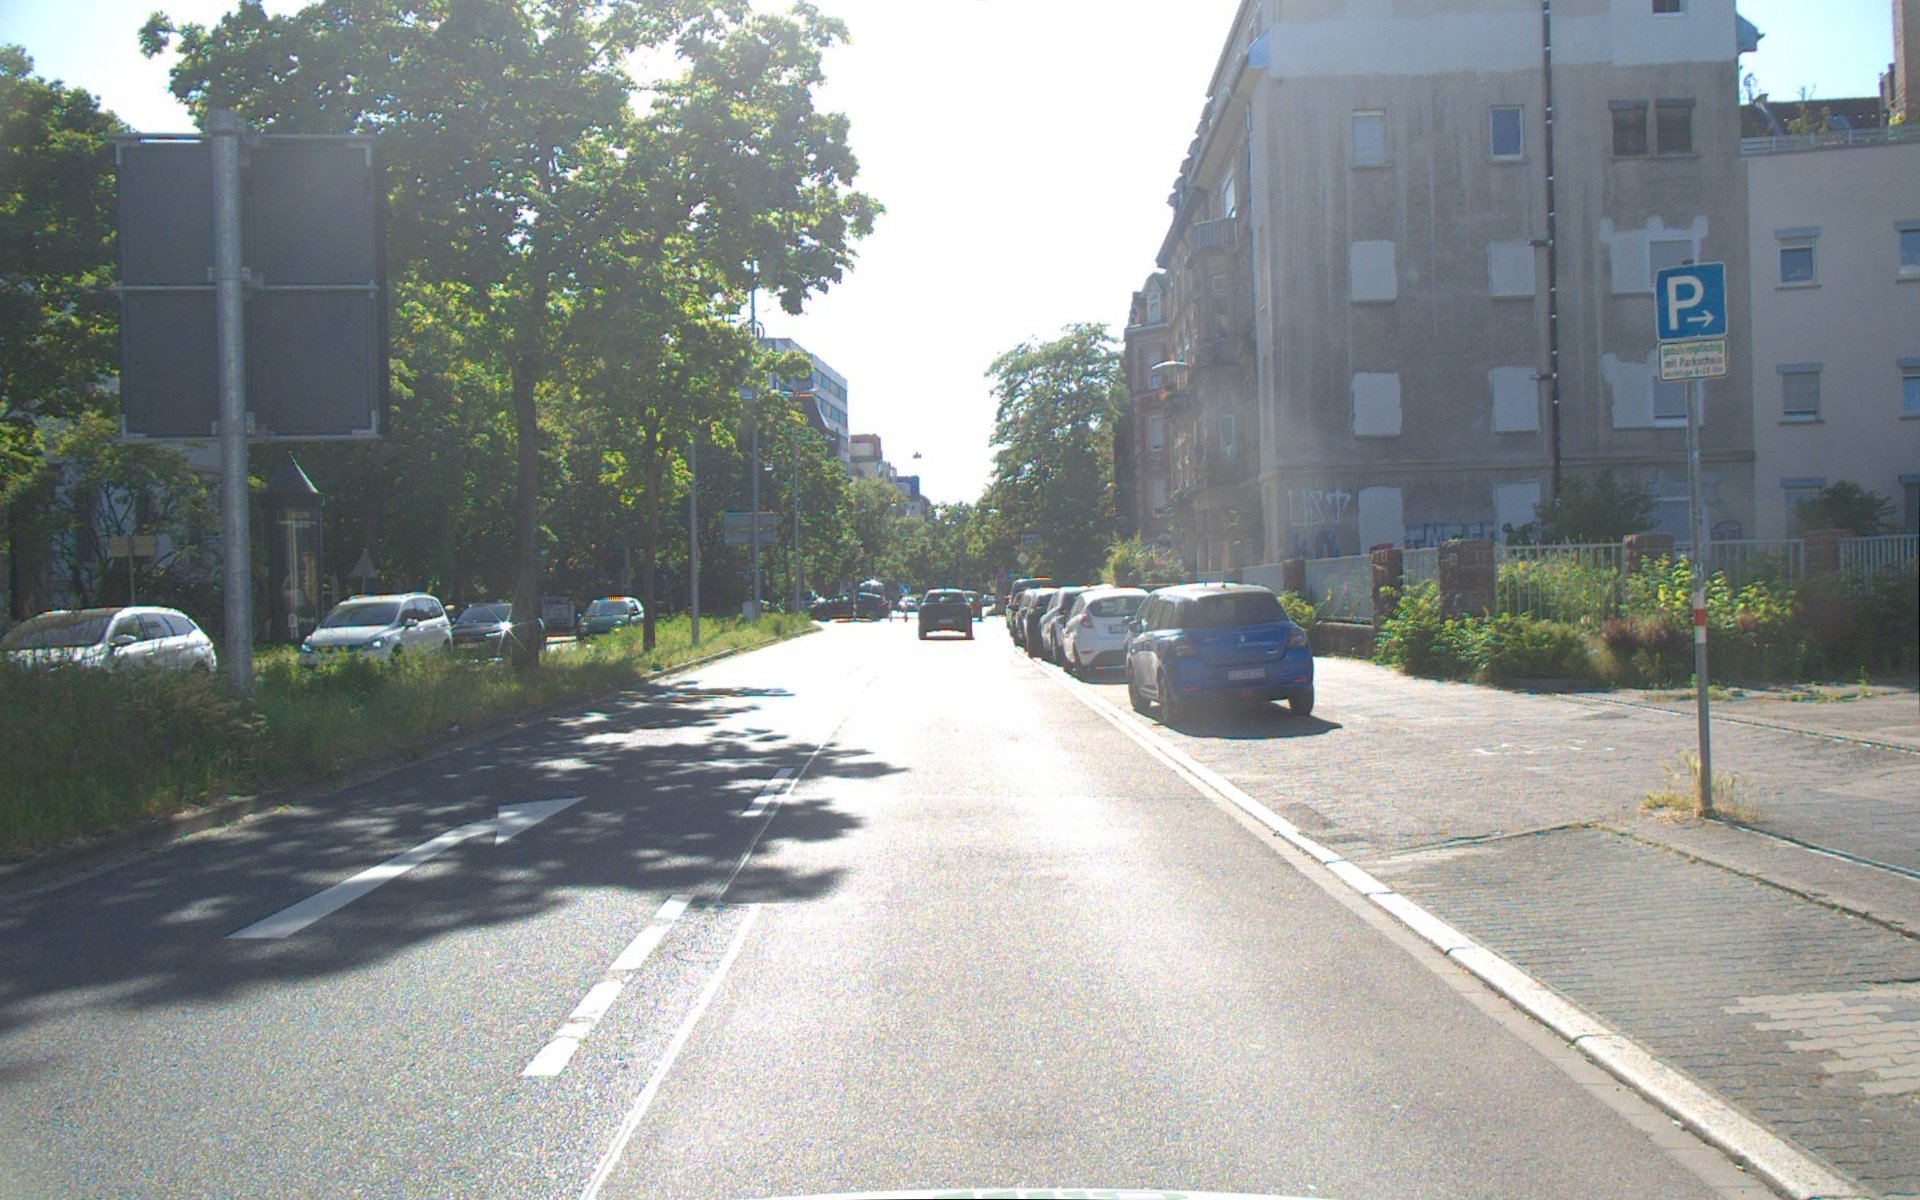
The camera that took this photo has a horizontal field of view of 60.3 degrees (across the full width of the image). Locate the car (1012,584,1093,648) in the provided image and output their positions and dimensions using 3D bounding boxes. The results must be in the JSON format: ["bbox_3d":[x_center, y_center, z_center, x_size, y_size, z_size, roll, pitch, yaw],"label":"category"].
[{"bbox_3d":[2.200,0.341,40.111,1.634,1.418,3.774,-2,1,-2],"label":"car"}]

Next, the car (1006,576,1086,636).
[{"bbox_3d":[2.388,0.132,47.000,1.896,1.545,4.483,-2,1,-2],"label":"car"}]

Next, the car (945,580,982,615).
[{"bbox_3d":[0.156,-0.134,82.546,1.756,1.546,3.849,0,3,-1],"label":"car"}]

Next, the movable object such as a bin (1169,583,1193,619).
[{"bbox_3d":[7.515,0.030,56.322,0.743,1.177,0.608,0,-3,1],"label":"movable object such as a bin"}]

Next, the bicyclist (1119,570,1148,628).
[{"bbox_3d":[4.918,-0.039,46.889,0.726,1.607,1.100,0,1,1],"label":"bicyclist"}]

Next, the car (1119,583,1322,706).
[{"bbox_3d":[3.048,0.470,20.070,1.635,1.203,3.899,-5,1,-2],"label":"car"}]

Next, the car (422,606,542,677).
[{"bbox_3d":[-11.577,0.986,40.292,1.759,1.545,4.085,-3,-1,-2],"label":"car"}]

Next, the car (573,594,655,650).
[{"bbox_3d":[-10.248,0.623,49.231,1.605,1.545,4.257,-2,0,-2],"label":"car"}]

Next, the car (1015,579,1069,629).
[{"bbox_3d":[2.614,0.100,53.619,1.633,1.493,4.275,-2,1,2],"label":"car"}]

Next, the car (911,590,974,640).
[{"bbox_3d":[-0.595,0.447,53.625,1.857,1.545,3.997,1,0,-3],"label":"car"}]

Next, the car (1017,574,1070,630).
[{"bbox_3d":[2.953,0.029,59.254,1.781,1.876,4.365,-2,1,2],"label":"car"}]

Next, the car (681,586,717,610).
[{"bbox_3d":[-19.661,-0.141,124.625,1.946,1.691,3.976,-2,1,-20],"label":"car"}]

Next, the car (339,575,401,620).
[{"bbox_3d":[-34.900,-0.120,97.952,1.807,2.365,4.984,0,-3,0],"label":"car"}]

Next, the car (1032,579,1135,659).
[{"bbox_3d":[2.565,0.357,35.033,1.635,1.545,3.658,-2,1,-4],"label":"car"}]

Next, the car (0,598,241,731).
[{"bbox_3d":[-11.752,0.799,22.531,1.801,1.545,4.666,-2,1,0],"label":"car"}]

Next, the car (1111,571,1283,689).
[{"bbox_3d":[3.433,0.391,24.657,1.635,1.485,3.983,-5,1,-4],"label":"car"}]

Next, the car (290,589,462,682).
[{"bbox_3d":[-11.532,0.649,32.973,1.862,1.654,4.535,-2,0,-2],"label":"car"}]

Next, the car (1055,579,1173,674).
[{"bbox_3d":[2.693,0.425,29.590,1.576,1.471,3.657,-5,1,-2],"label":"car"}]

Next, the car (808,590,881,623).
[{"bbox_3d":[-6.026,0.351,86.496,3.772,1.662,1.619,0,-3,-3],"label":"car"}]

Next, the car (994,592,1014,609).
[{"bbox_3d":[4.639,0.025,174.553,1.880,1.668,4.002,-2,0,3],"label":"car"}]
